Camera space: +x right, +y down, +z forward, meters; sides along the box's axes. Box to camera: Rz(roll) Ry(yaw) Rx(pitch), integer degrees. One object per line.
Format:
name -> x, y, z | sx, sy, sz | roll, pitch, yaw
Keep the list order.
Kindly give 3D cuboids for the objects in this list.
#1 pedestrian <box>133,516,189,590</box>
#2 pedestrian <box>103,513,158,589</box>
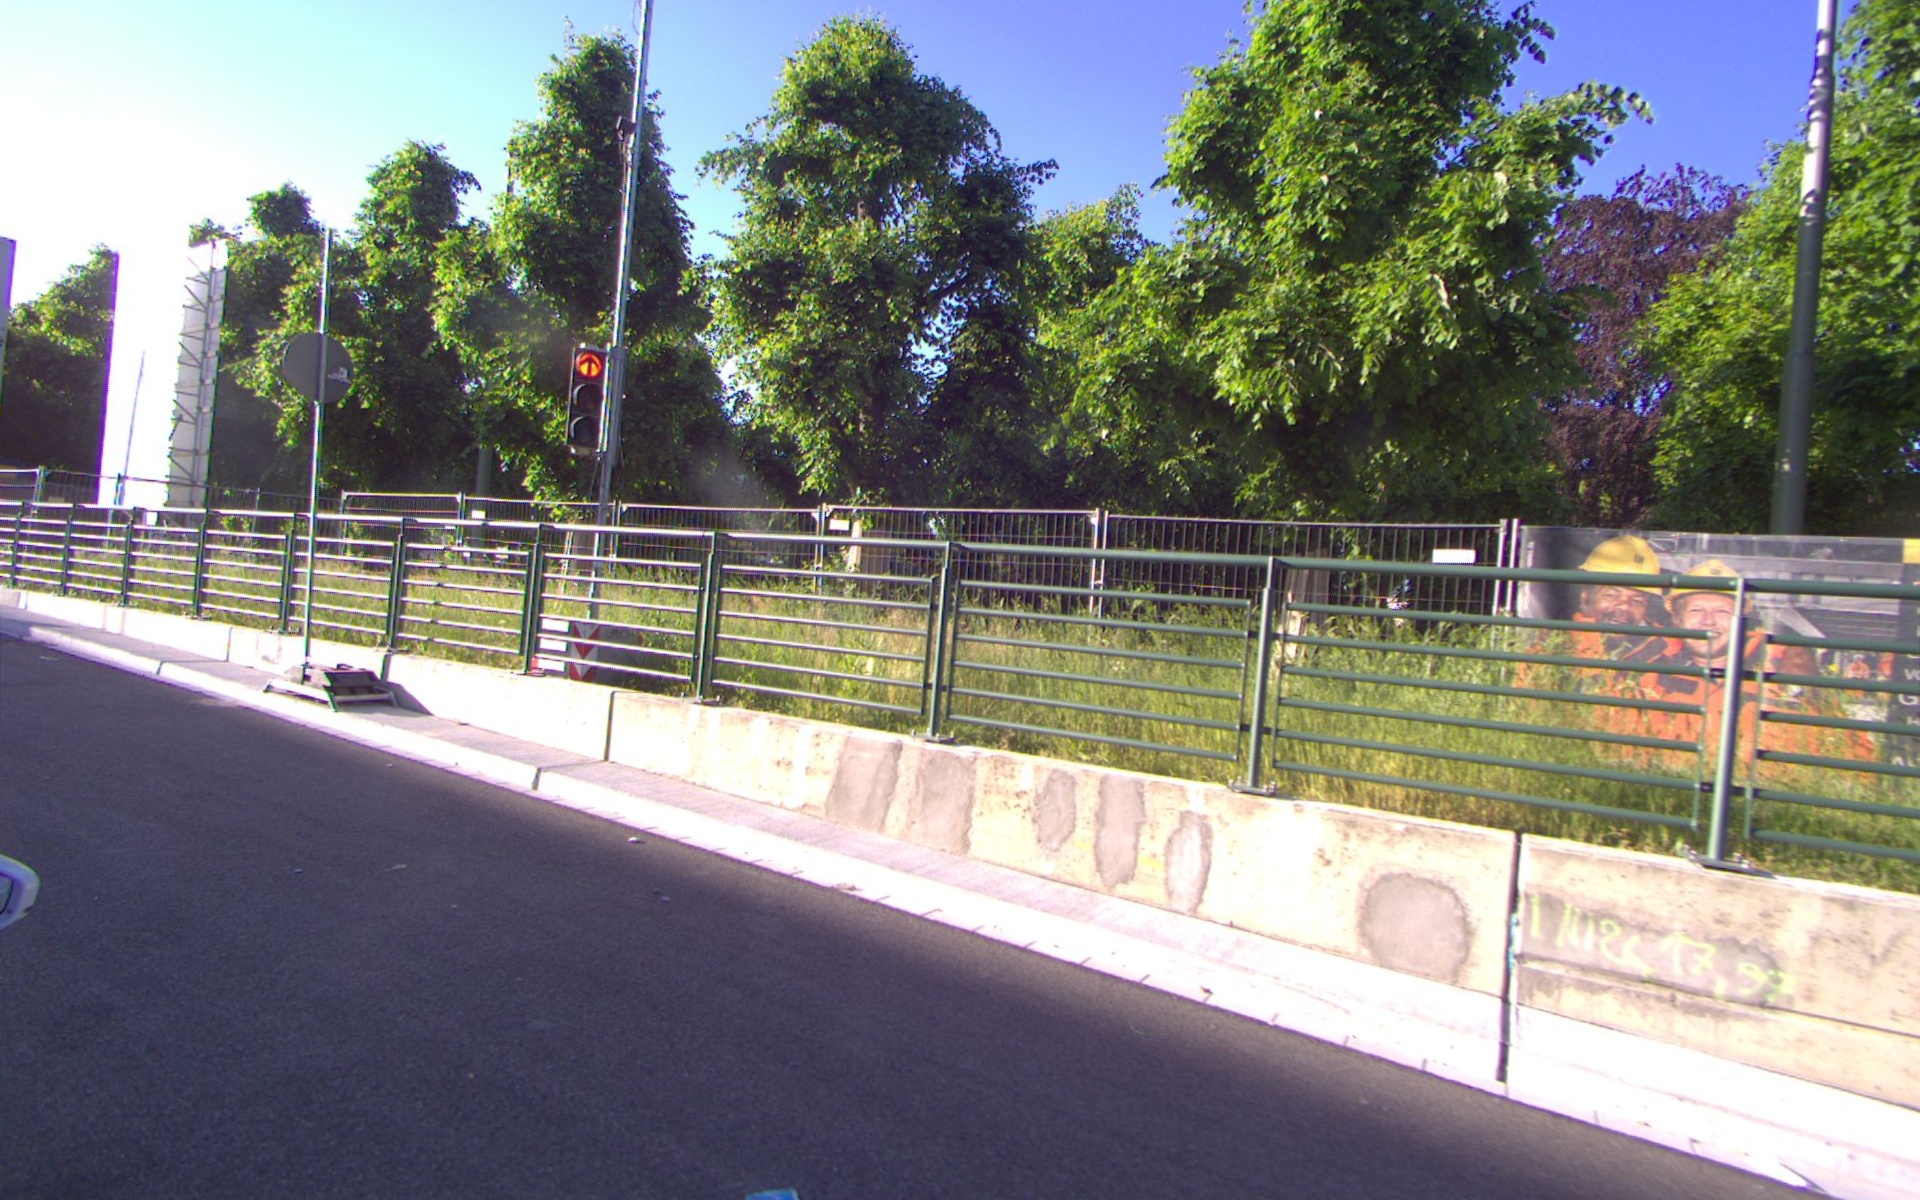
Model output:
pedestrian -> -18.113, -1.059, 22.812 | 0.655, 1.586, 0.743 | 5, 1, -14
pedestrian -> -18.749, -1.098, 22.736 | 0.633, 1.625, 0.736 | 6, 1, 36
